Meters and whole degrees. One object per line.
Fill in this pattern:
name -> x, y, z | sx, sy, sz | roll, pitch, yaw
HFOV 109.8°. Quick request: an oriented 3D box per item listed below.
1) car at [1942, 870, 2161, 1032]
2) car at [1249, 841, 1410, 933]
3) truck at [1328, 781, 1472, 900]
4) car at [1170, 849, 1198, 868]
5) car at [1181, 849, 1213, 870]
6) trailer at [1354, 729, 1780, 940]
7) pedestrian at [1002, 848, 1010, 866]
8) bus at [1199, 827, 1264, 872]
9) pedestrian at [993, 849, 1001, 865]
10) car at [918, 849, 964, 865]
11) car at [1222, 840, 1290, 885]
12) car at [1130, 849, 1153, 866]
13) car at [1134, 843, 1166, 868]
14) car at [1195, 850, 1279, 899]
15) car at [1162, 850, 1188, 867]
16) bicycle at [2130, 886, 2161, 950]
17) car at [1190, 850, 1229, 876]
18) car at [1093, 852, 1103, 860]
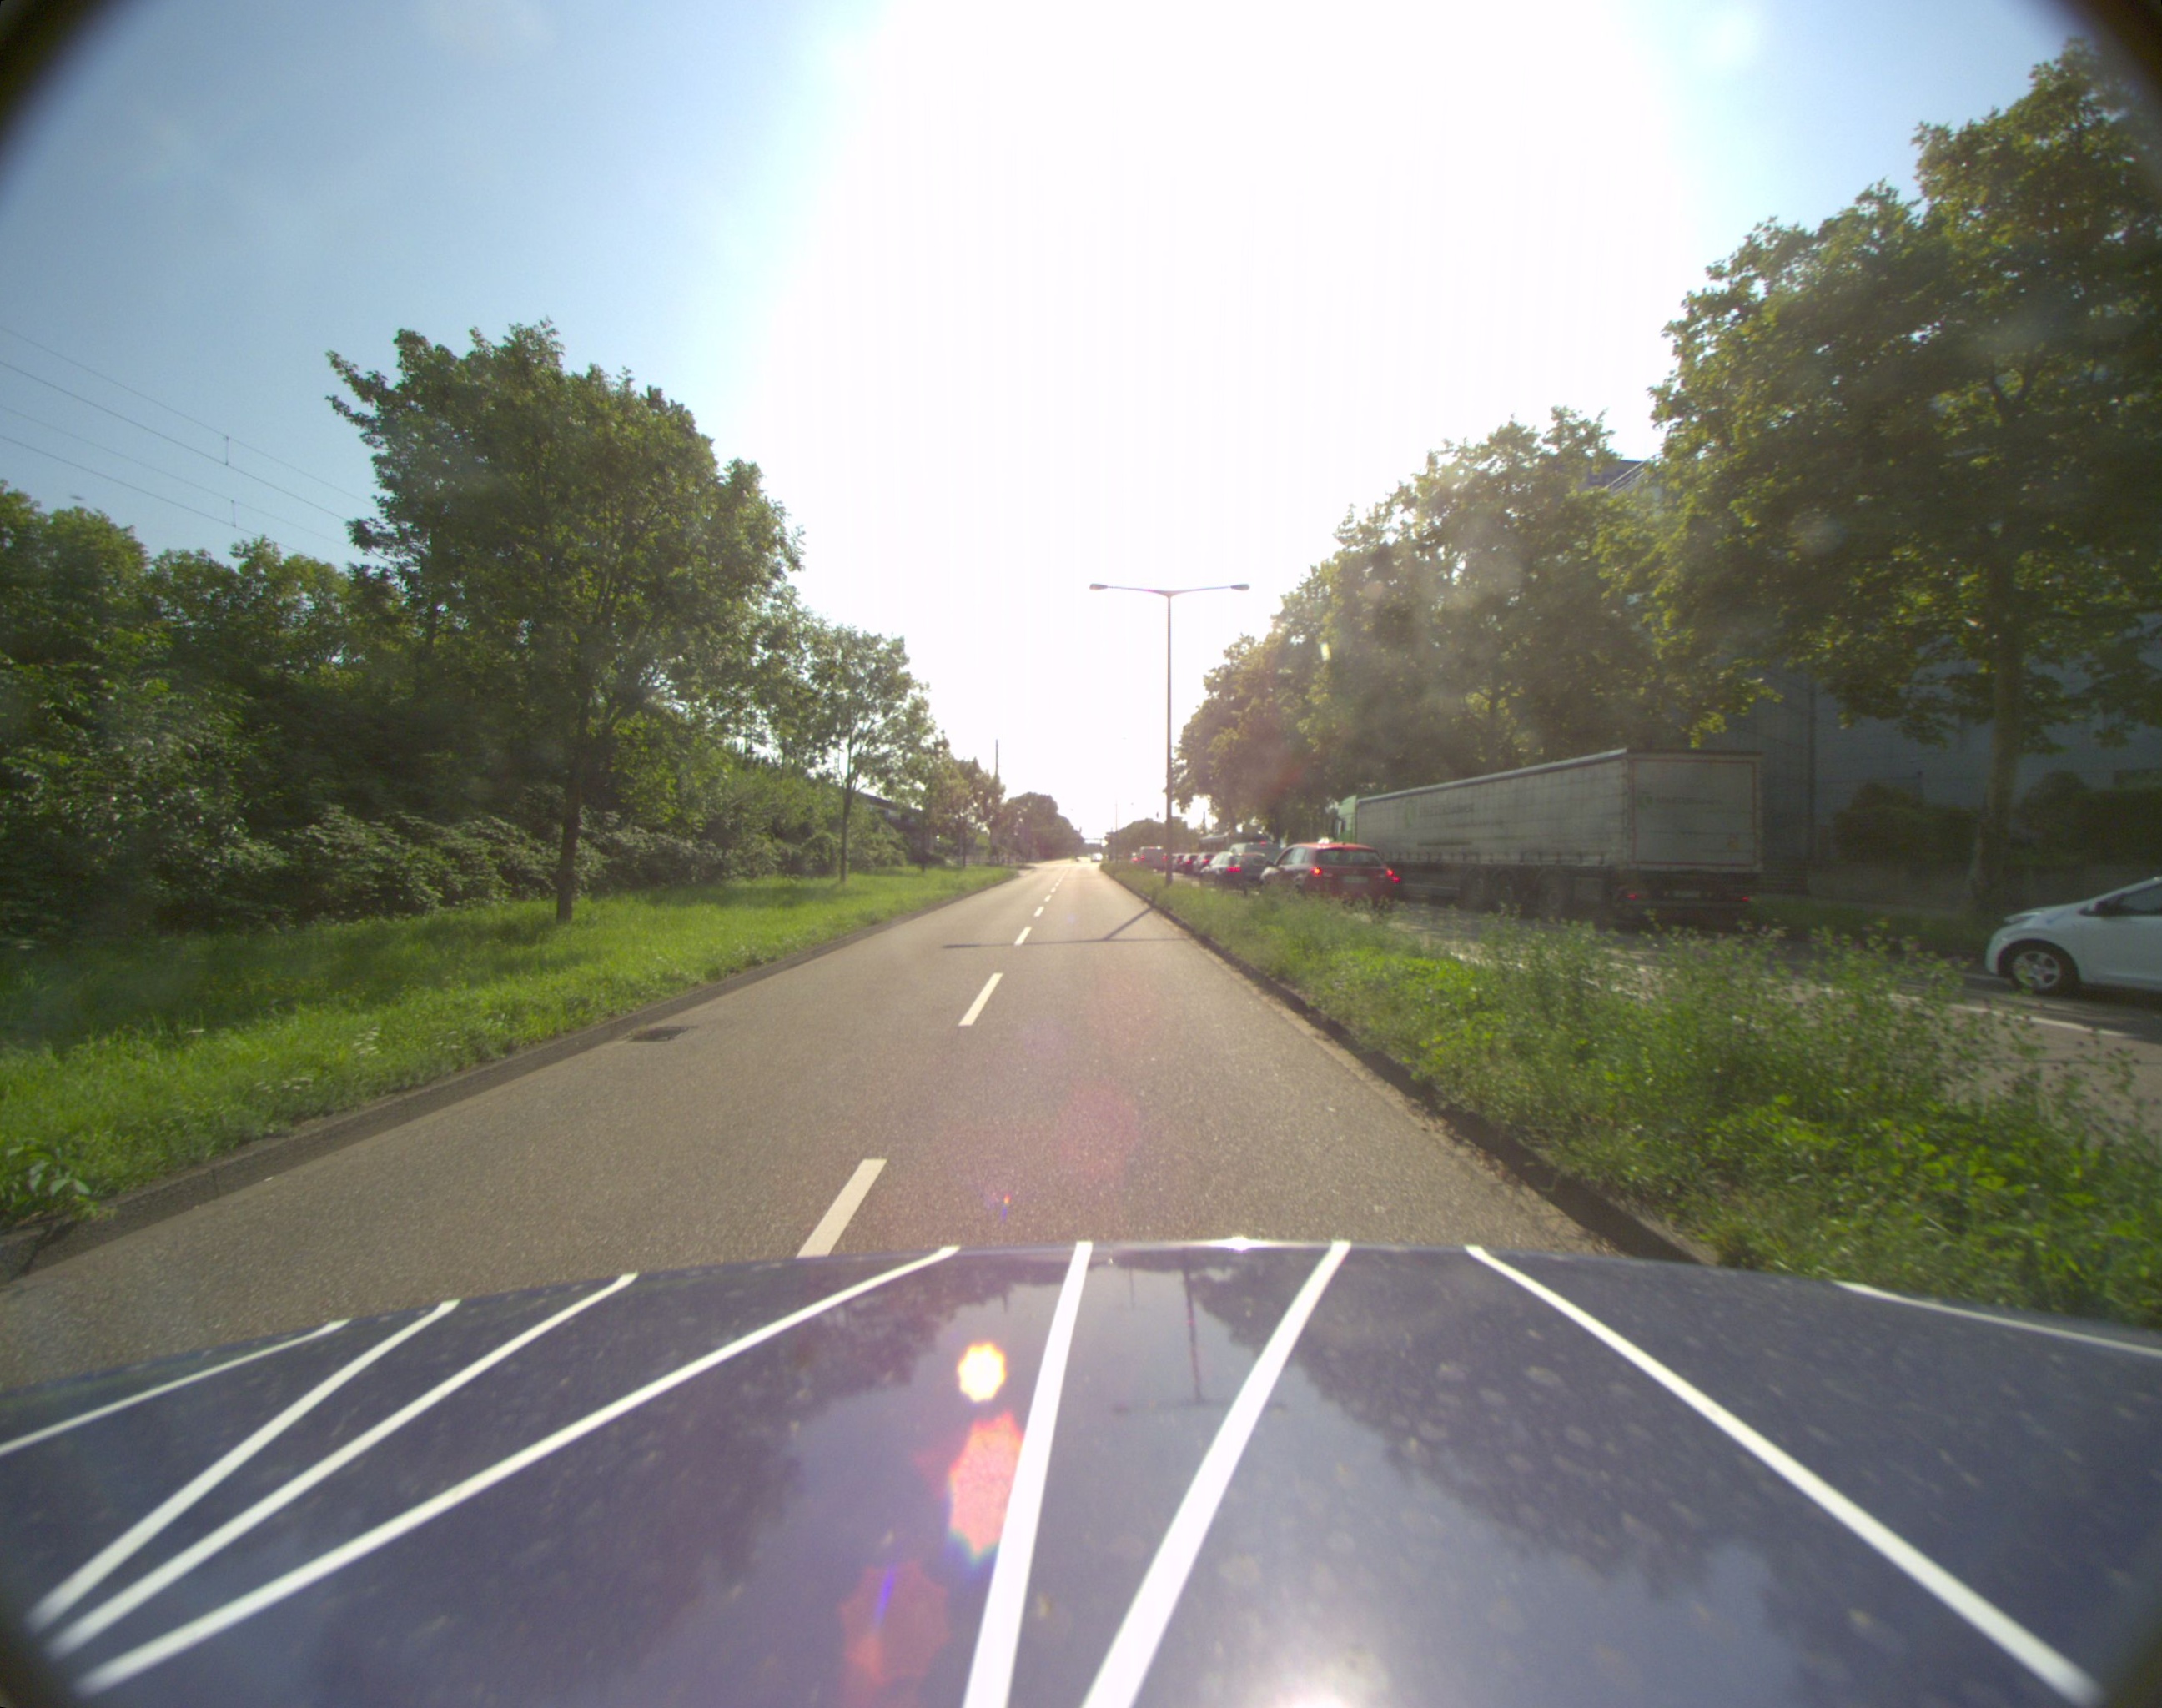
car -> 11.099, 0.956, 7.100 | 1.750, 1.471, 3.830 | 1, 1, 1
car -> 5.124, 0.598, 16.410 | 1.959, 1.714, 4.586 | 0, 0, 0
truck -> 11.329, -0.462, 27.648 | 2.614, 3.797, 5.890 | 1, 1, 0
car -> 8.358, 0.342, 61.758 | 1.710, 1.458, 3.821 | 0, 0, 0
car -> 8.350, 0.364, 55.020 | 1.651, 1.425, 4.189 | 1, 1, 0
trailer -> 11.372, -0.396, 20.815 | 2.640, 3.799, 13.809 | 1, 0, 0
pedestrian -> -7.276, 0.285, 73.706 | 0.570, 1.672, 0.493 | 0, 1, 32
bus -> 11.400, -0.363, 58.931 | 2.597, 3.062, 12.310 | -1, 0, 0
pedestrian -> -8.189, 0.271, 73.815 | 0.573, 1.558, 0.535 | -2, 2, -41
car -> -13.597, 0.270, 73.779 | 4.182, 1.524, 1.874 | 1, 1, 28
car -> 8.125, 0.354, 35.788 | 1.999, 1.942, 5.035 | 0, 1, -1
car -> 5.244, 0.314, 66.240 | 1.713, 1.394, 4.083 | 1, 0, 0
car -> 5.266, 0.126, 58.504 | 1.916, 1.853, 4.889 | 1, 0, -1
car -> 5.233, 0.635, 26.110 | 1.751, 1.471, 4.585 | 1, 0, -2
car -> 8.198, 0.381, 66.781 | 1.710, 1.433, 3.999 | 1, 1, 0
bicycle -> 19.238, 1.140, 12.786 | 0.650, 1.101, 1.800 | 0, 0, -1
car -> 8.060, 0.511, 48.049 | 1.699, 1.520, 4.139 | 1, 1, 0
car -> 3.064, 0.353, 136.441 | 1.544, 1.433, 3.396 | 0, -1, 3
